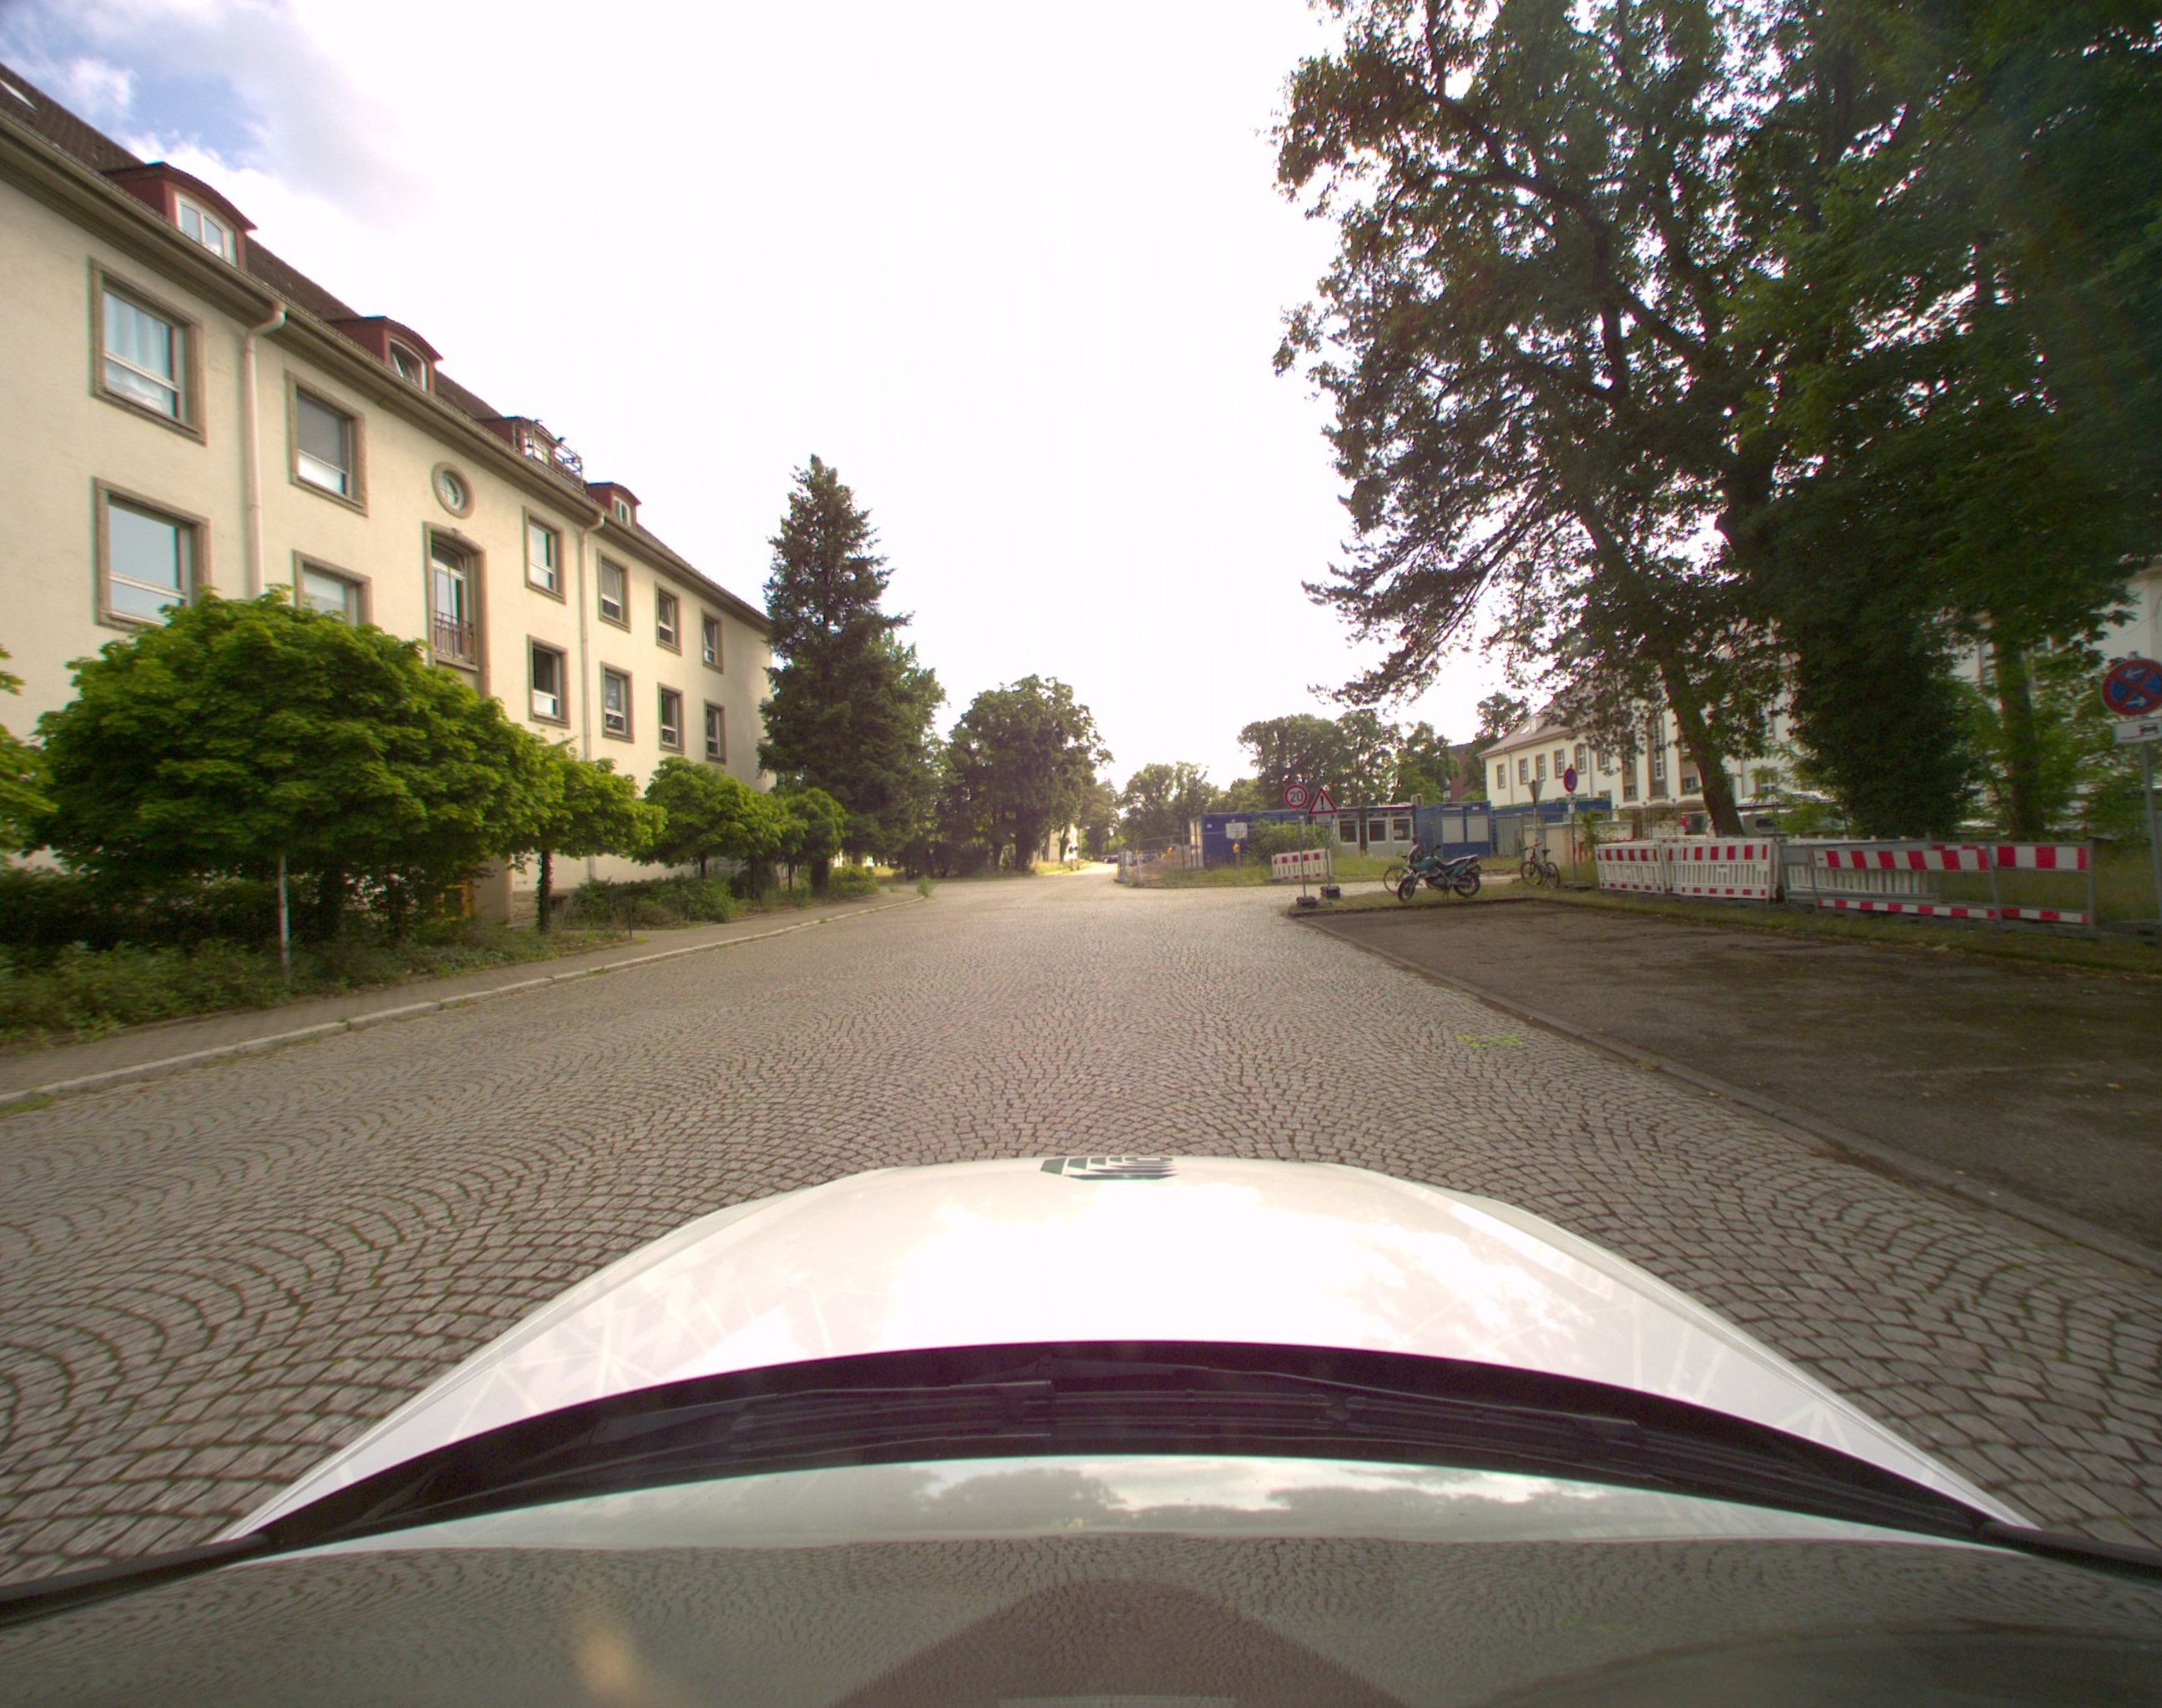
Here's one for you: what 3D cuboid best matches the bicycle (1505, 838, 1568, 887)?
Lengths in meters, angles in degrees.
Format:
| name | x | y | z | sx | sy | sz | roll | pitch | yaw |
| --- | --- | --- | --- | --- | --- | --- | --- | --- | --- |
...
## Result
| name | x | y | z | sx | sy | sz | roll | pitch | yaw |
| --- | --- | --- | --- | --- | --- | --- | --- | --- | --- |
| bicycle | 11.748 | 0.204 | 21.057 | 0.639 | 1.169 | 1.907 | -3 | 0 | 5 |

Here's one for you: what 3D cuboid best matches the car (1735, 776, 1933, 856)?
| name | x | y | z | sx | sy | sz | roll | pitch | yaw |
| --- | --- | --- | --- | --- | --- | --- | --- | --- | --- |
| car | 26.680 | -1.222 | 29.247 | 1.984 | 2.556 | 5.918 | -1 | 0 | 5 |

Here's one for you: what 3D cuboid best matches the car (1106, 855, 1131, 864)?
| name | x | y | z | sx | sy | sz | roll | pitch | yaw |
| --- | --- | --- | --- | --- | --- | --- | --- | --- | --- |
| car | 7.279 | 1.035 | 158.990 | 4.769 | 1.641 | 1.998 | -2 | 0 | -3 |

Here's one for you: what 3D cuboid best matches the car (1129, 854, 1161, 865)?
| name | x | y | z | sx | sy | sz | roll | pitch | yaw |
| --- | --- | --- | --- | --- | --- | --- | --- | --- | --- |
| car | 9.209 | 0.742 | 117.854 | 4.375 | 1.510 | 2.006 | -1 | 0 | 10 |

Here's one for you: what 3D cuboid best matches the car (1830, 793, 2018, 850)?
| name | x | y | z | sx | sy | sz | roll | pitch | yaw |
| --- | --- | --- | --- | --- | --- | --- | --- | --- | --- |
| car | 30.044 | -1.077 | 29.300 | 1.984 | 1.825 | 4.882 | -1 | 0 | 6 |

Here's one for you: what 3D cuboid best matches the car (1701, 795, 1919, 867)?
| name | x | y | z | sx | sy | sz | roll | pitch | yaw |
| --- | --- | --- | --- | --- | --- | --- | --- | --- | --- |
| car | 22.234 | -0.685 | 25.006 | 4.837 | 1.920 | 1.909 | -2 | 1 | 3 |

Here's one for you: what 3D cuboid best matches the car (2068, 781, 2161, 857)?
| name | x | y | z | sx | sy | sz | roll | pitch | yaw |
| --- | --- | --- | --- | --- | --- | --- | --- | --- | --- |
| car | 27.365 | -0.870 | 19.216 | 2.003 | 1.825 | 4.836 | -1 | 0 | -24 |

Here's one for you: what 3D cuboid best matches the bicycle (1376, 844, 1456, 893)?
| name | x | y | z | sx | sy | sz | roll | pitch | yaw |
| --- | --- | --- | --- | --- | --- | --- | --- | --- | --- |
| bicycle | 8.969 | 0.393 | 21.846 | 1.882 | 1.197 | 0.659 | -3 | 0 | 22 |

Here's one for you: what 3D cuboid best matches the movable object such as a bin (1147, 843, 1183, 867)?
| name | x | y | z | sx | sy | sz | roll | pitch | yaw |
| --- | --- | --- | --- | --- | --- | --- | --- | --- | --- |
| movable object such as a bin | 9.665 | 0.051 | 93.626 | 2.108 | 2.593 | 4.821 | -2 | 0 | 32 |

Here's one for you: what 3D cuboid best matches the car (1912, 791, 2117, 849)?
| name | x | y | z | sx | sy | sz | roll | pitch | yaw |
| --- | --- | --- | --- | --- | --- | --- | --- | --- | --- |
| car | 33.156 | -1.135 | 29.199 | 1.984 | 1.825 | 4.881 | -1 | 0 | 5 |

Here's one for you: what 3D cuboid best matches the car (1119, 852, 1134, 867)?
| name | x | y | z | sx | sy | sz | roll | pitch | yaw |
| --- | --- | --- | --- | --- | --- | --- | --- | --- | --- |
| car | 6.166 | 0.756 | 110.771 | 1.986 | 2.013 | 4.092 | -2 | 0 | 1 |

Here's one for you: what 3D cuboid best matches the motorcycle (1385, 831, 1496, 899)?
| name | x | y | z | sx | sy | sz | roll | pitch | yaw |
| --- | --- | --- | --- | --- | --- | --- | --- | --- | --- |
| motorcycle | 8.570 | 0.252 | 19.474 | 2.271 | 1.485 | 0.756 | -3 | 0 | -3 |

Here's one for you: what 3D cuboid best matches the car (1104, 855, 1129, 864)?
| name | x | y | z | sx | sy | sz | roll | pitch | yaw |
| --- | --- | --- | --- | --- | --- | --- | --- | --- | --- |
| car | 6.991 | 1.051 | 162.107 | 4.769 | 1.641 | 1.998 | -2 | 0 | -3 |
